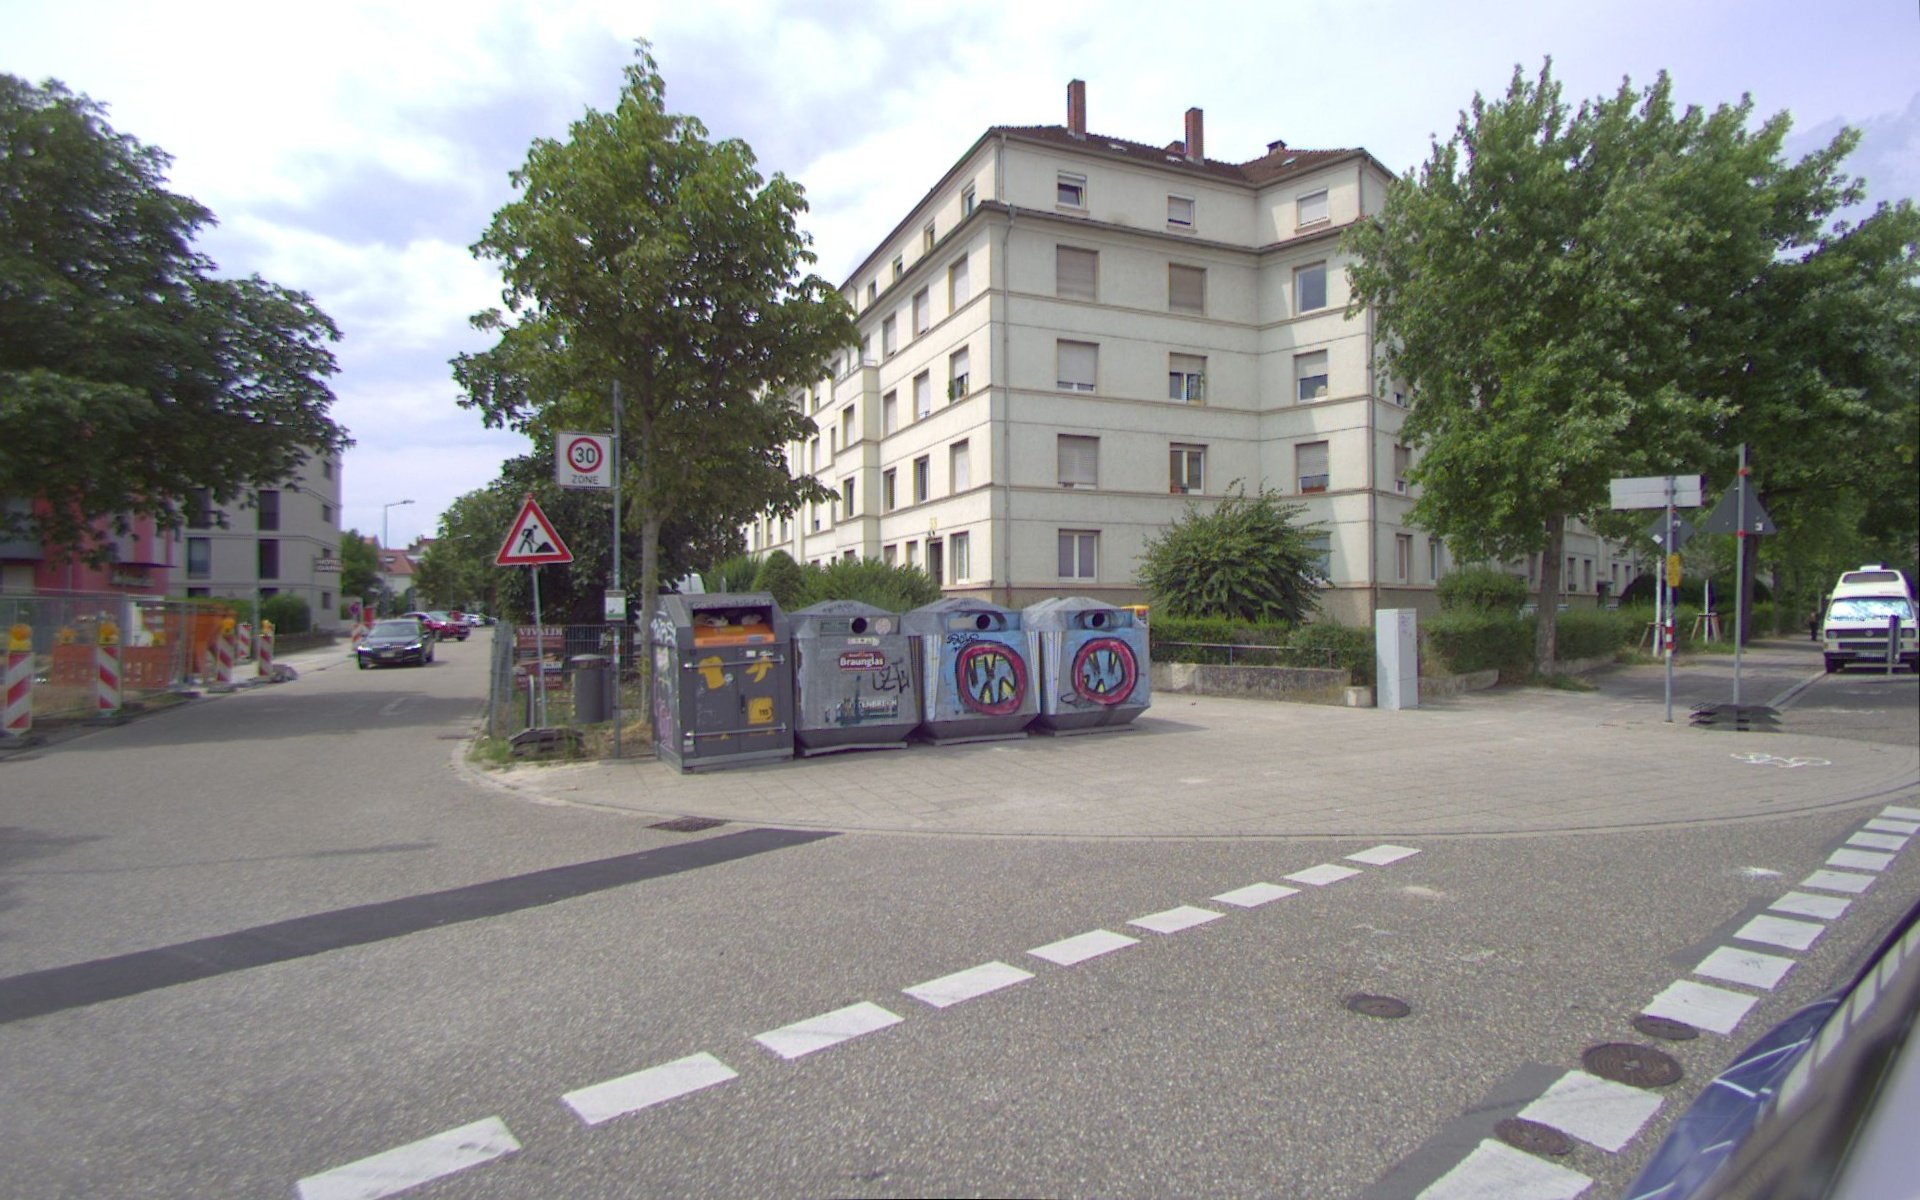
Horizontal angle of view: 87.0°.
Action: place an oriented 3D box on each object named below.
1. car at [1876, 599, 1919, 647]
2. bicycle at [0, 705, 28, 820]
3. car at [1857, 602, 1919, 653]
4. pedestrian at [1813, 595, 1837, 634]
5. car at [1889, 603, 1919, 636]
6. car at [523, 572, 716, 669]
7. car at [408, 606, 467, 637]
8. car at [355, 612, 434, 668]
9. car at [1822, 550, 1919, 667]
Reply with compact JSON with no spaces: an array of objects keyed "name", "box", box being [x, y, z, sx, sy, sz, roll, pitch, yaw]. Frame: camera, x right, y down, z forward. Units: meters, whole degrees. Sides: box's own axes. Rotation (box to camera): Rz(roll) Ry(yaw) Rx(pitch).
[{"name":"car","box":[35.833,0.834,38.287,1.671,1.697,4.205,1,0,43]},{"name":"bicycle","box":[-8.270,1.350,7.542,0.700,0.945,2.483,0,-2,-10]},{"name":"car","box":[28.769,0.812,31.081,1.671,1.469,4.572,-3,-2,43]},{"name":"pedestrian","box":[41.130,0.671,48.138,0.751,1.826,0.806,0,0,-45]},{"name":"car","box":[42.838,0.842,45.276,3.722,1.418,1.673,0,0,-44]},{"name":"car","box":[-9.673,0.566,28.837,5.000,2.485,1.904,-2,-3,-22]},{"name":"car","box":[-29.069,1.169,56.247,2.216,1.613,4.452,-1,0,-36]},{"name":"car","box":[-17.989,1.216,32.351,1.838,1.613,4.188,-1,0,-25]},{"name":"car","box":[23.067,0.211,25.226,1.895,2.636,4.826,-5,-3,45]}]
